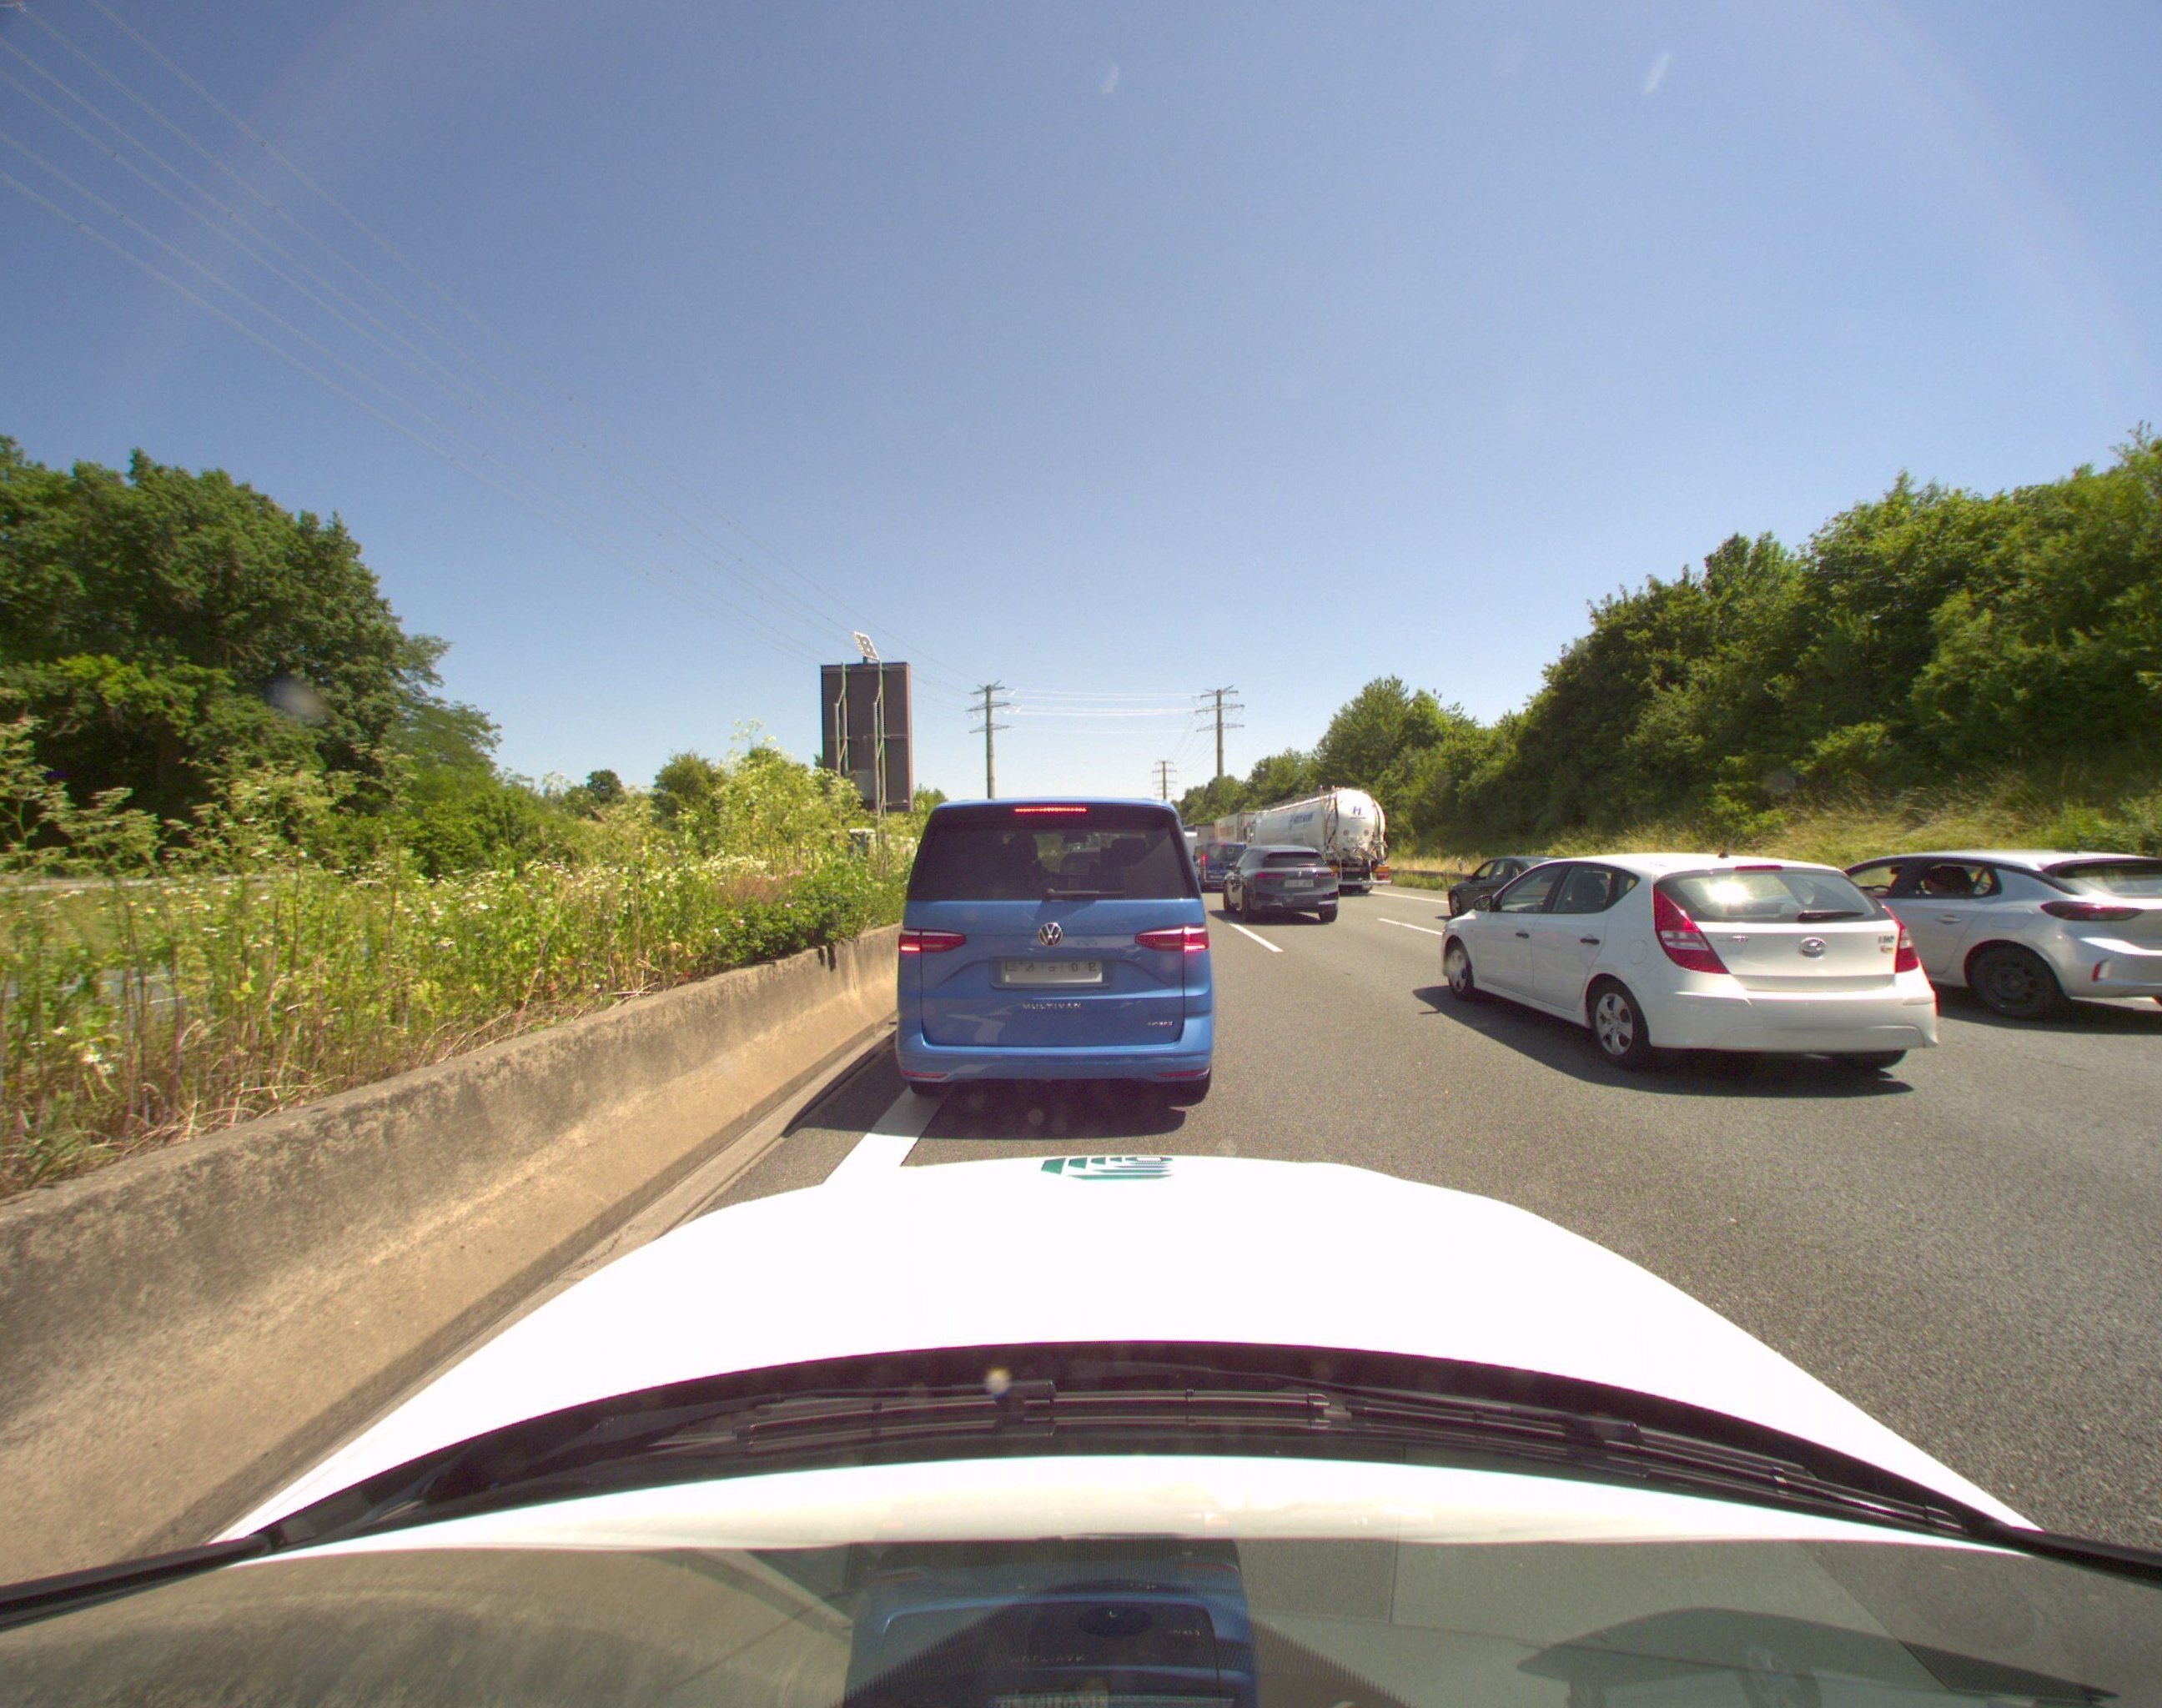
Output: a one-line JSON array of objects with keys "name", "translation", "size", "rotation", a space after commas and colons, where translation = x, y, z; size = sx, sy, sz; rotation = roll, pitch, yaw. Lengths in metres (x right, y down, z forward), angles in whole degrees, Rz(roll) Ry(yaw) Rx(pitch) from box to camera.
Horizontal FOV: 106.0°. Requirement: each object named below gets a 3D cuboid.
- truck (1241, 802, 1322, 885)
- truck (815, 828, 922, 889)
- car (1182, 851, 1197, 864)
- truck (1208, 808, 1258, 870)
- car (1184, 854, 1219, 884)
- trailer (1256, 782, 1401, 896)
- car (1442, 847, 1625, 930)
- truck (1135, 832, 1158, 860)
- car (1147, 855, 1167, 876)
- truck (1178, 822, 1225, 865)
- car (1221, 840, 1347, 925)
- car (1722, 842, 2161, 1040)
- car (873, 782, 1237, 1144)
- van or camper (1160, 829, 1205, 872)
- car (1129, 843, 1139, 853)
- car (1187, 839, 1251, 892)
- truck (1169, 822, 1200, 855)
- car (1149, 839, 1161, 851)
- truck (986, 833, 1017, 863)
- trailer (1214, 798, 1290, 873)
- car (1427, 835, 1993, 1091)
[{"name": "truck", "translation": [9.970, -0.480, 41.115], "size": [2.782, 3.836, 5.574], "rotation": [-2, 0, 2]}, {"name": "truck", "translation": [-12.806, 0.275, 50.480], "size": [2.753, 3.288, 11.830], "rotation": [-2, 0, 3]}, {"name": "car", "translation": [17.025, 0.609, 128.149], "size": [1.986, 2.014, 4.001], "rotation": [-1, -1, 2]}, {"name": "truck", "translation": [11.531, -1.076, 62.133], "size": [2.901, 4.469, 5.144], "rotation": [-2, 0, 2]}, {"name": "car", "translation": [6.184, 0.750, 42.120], "size": [1.355, 1.420, 3.887], "rotation": [-2, -1, 3]}, {"name": "trailer", "translation": [9.759, -0.502, 33.799], "size": [2.751, 3.845, 11.490], "rotation": [-2, 0, 2]}, {"name": "car", "translation": [9.034, 0.648, 16.655], "size": [1.634, 1.416, 3.991], "rotation": [-2, -1, 3]}, {"name": "truck", "translation": [9.254, -0.997, 116.076], "size": [2.883, 3.766, 10.148], "rotation": [-1, -1, 3]}, {"name": "car", "translation": [7.449, 1.152, 80.329], "size": [1.828, 1.998, 4.004], "rotation": [-2, -1, 4]}, {"name": "truck", "translation": [11.627, -0.872, 80.128], "size": [2.993, 3.766, 15.725], "rotation": [-1, -1, 3]}, {"name": "car", "translation": [4.594, 0.624, 19.197], "size": [1.991, 1.715, 4.628], "rotation": [-2, -1, 3]}, {"name": "car", "translation": [8.771, 0.630, 8.092], "size": [1.724, 1.443, 4.030], "rotation": [-2, 0, 2]}, {"name": "car", "translation": [-0.055, 0.564, 6.278], "size": [1.912, 1.886, 4.002], "rotation": [0, 0, 2]}, {"name": "van or camper", "translation": [7.607, -0.195, 62.037], "size": [2.944, 3.022, 7.109], "rotation": [-1, -1, 4]}, {"name": "car", "translation": [11.866, -1.246, 182.777], "size": [1.986, 2.126, 4.001], "rotation": [-1, -1, 2]}, {"name": "car", "translation": [5.517, 0.466, 33.118], "size": [1.916, 1.925, 4.236], "rotation": [-2, -1, 1]}, {"name": "truck", "translation": [12.984, -1.776, 102.952], "size": [2.883, 3.766, 13.355], "rotation": [-1, -1, 3]}, {"name": "car", "translation": [12.912, -1.616, 142.158], "size": [1.985, 2.014, 4.002], "rotation": [-1, -1, 2]}, {"name": "truck", "translation": [-10.085, -0.721, 103.729], "size": [3.060, 3.709, 5.465], "rotation": [-1, 0, 2]}, {"name": "trailer", "translation": [11.322, -1.087, 55.240], "size": [2.901, 4.469, 12.159], "rotation": [-2, 0, 2]}, {"name": "car", "translation": [4.584, 0.684, 6.858], "size": [1.809, 1.485, 4.003], "rotation": [-2, -1, 3]}]
